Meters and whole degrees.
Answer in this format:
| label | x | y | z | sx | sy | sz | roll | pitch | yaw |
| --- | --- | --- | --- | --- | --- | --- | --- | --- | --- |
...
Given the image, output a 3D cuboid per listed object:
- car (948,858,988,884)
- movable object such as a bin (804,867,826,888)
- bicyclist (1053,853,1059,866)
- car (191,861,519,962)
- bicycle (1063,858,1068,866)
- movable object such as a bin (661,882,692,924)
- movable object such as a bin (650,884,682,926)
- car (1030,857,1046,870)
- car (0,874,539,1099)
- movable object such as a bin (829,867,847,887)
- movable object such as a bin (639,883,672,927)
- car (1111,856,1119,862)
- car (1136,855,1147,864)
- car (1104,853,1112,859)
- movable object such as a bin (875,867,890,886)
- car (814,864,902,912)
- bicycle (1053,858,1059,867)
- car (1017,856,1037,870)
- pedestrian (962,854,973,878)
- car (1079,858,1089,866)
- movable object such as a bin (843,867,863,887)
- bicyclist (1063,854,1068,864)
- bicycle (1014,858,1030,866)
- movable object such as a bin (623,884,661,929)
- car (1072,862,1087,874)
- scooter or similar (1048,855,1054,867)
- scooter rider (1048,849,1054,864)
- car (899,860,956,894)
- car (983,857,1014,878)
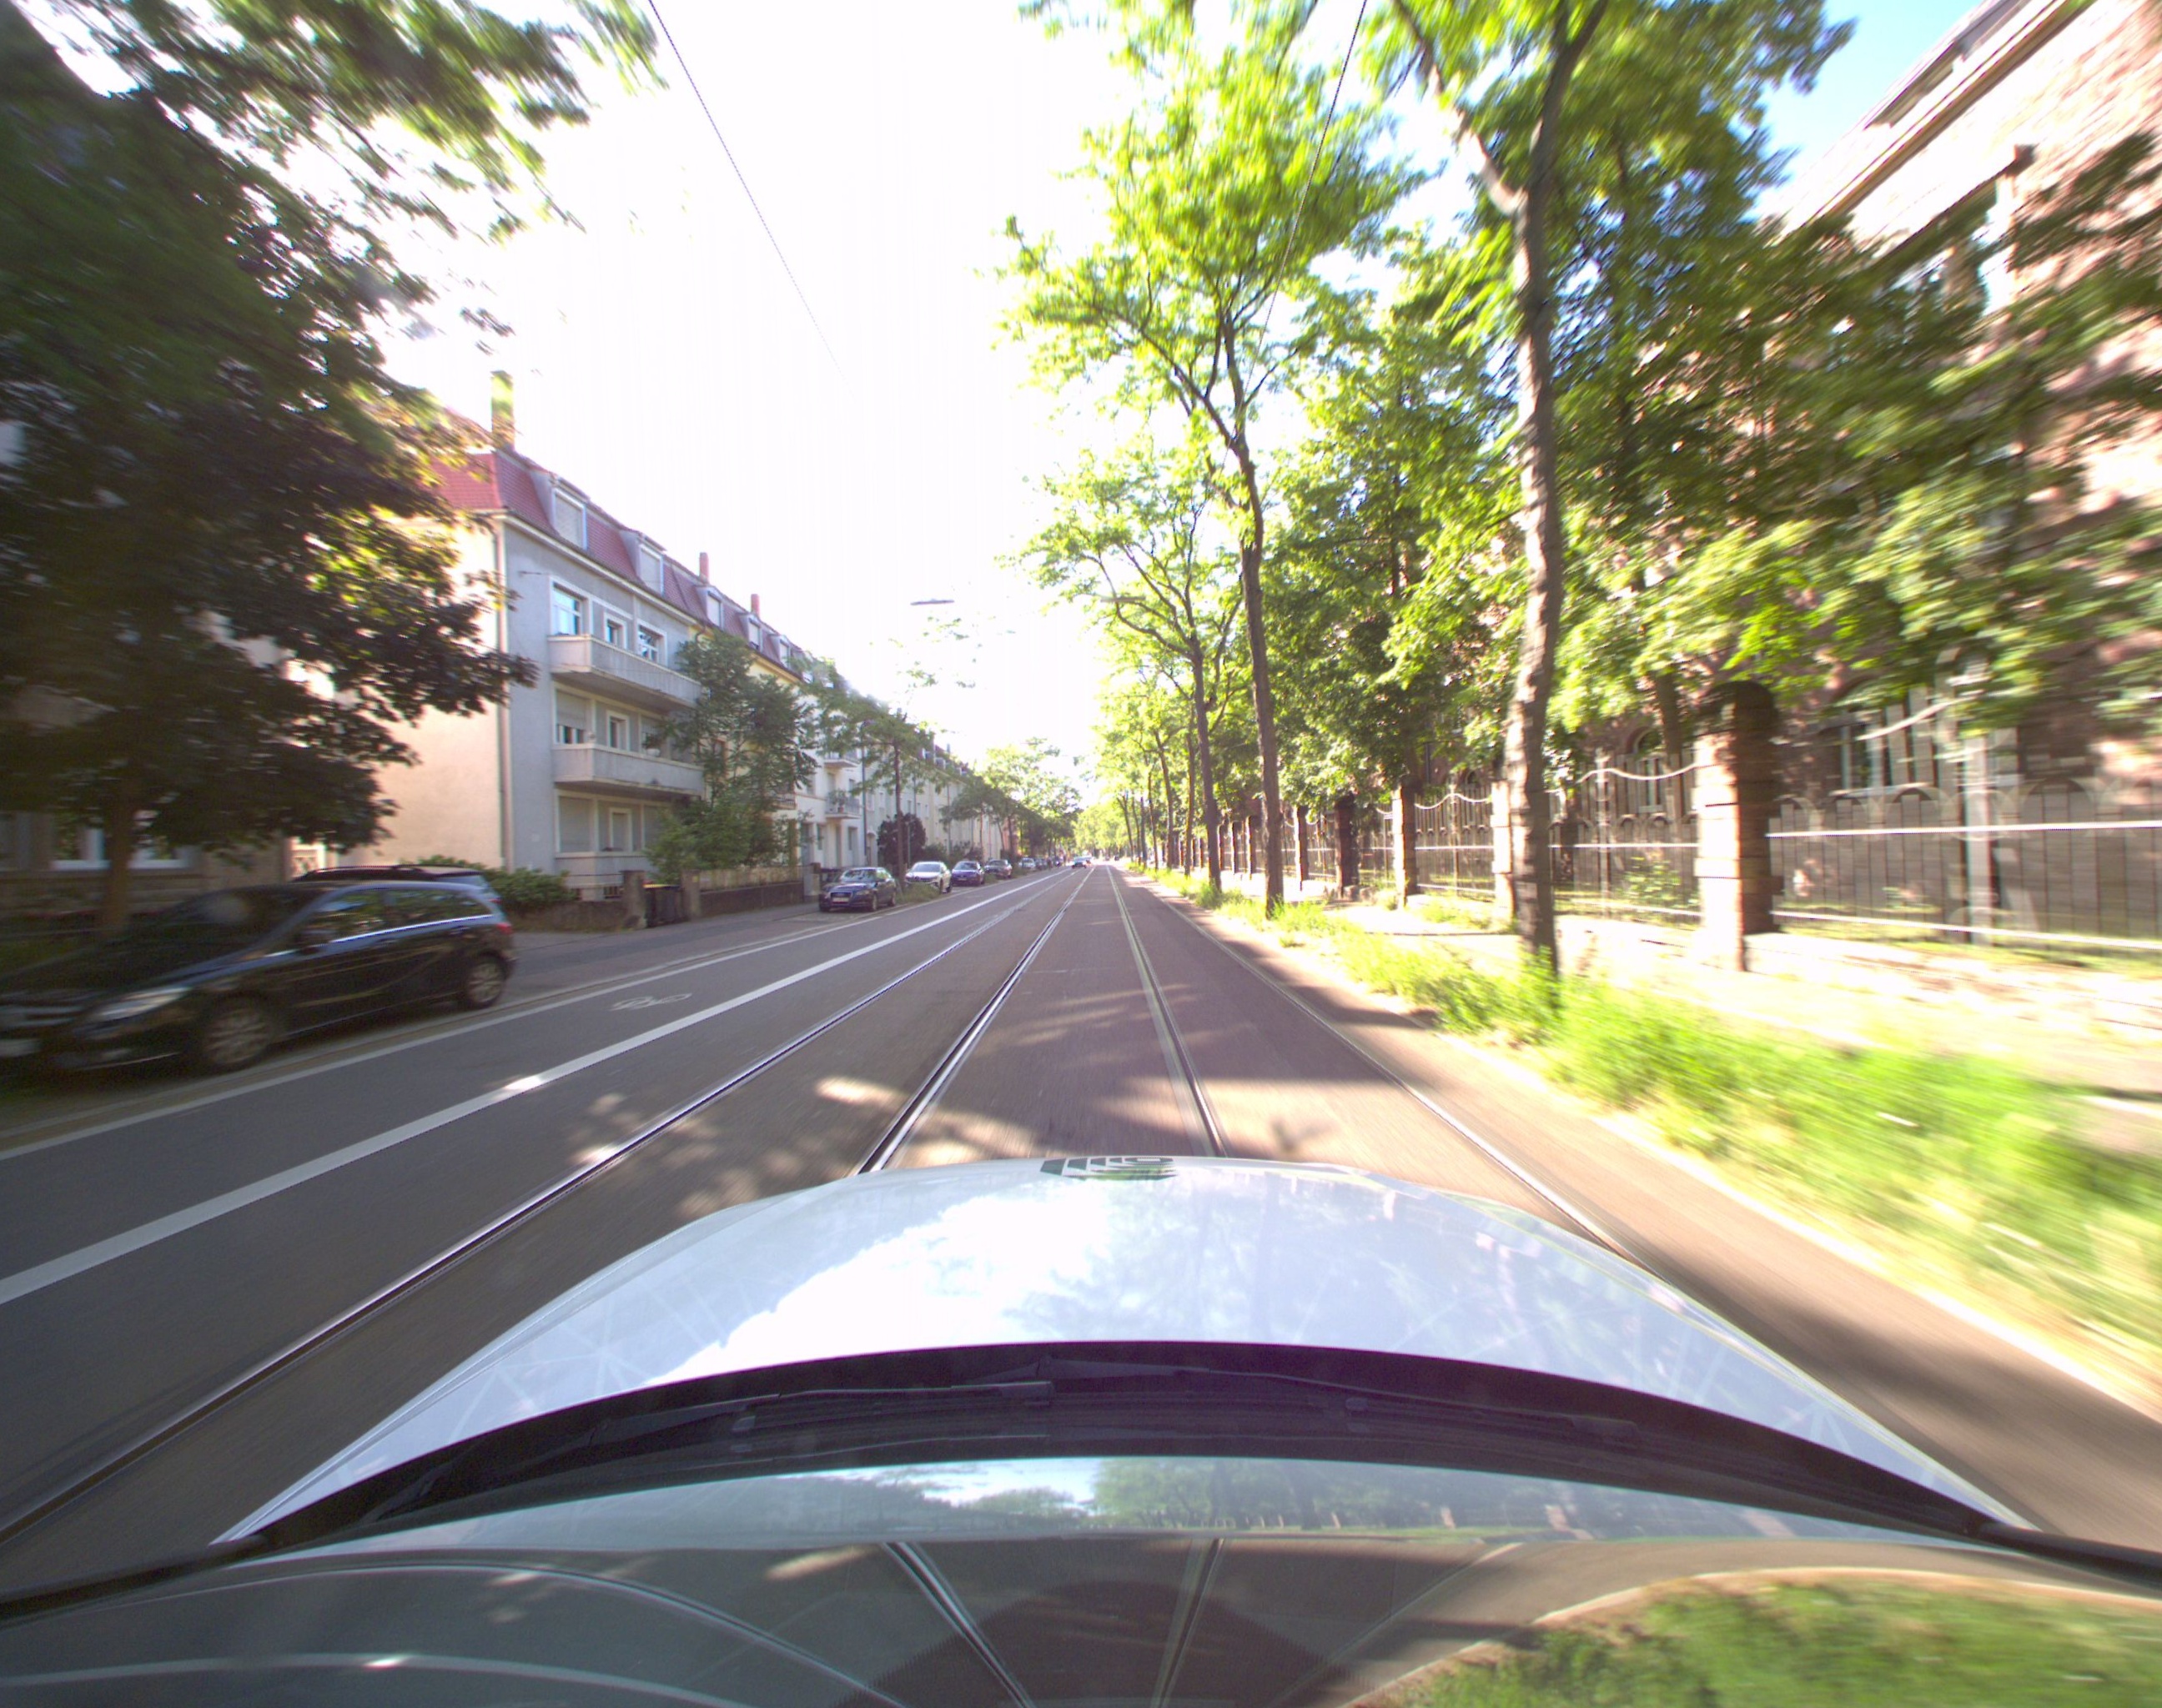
| label | x | y | z | sx | sy | sz | roll | pitch | yaw |
| --- | --- | --- | --- | --- | --- | --- | --- | --- | --- |
| car | -6.778 | 0.996 | 49.335 | 1.752 | 1.511 | 4.438 | -1 | 0 | 0 |
| movable object such as a bin | -13.840 | 1.202 | 42.330 | 0.841 | 1.046 | 0.733 | 0 | 0 | 4 |
| bicyclist | -3.403 | 0.713 | 109.616 | 0.624 | 1.639 | 0.940 | -4 | 0 | 1 |
| car | -13.066 | 0.989 | 14.884 | 4.153 | 1.659 | 1.983 | -1 | 0 | 0 |
| bicycle | -2.499 | 1.264 | 132.999 | 0.692 | 1.177 | 1.914 | -4 | 0 | 1 |
| movable object such as a bin | -10.840 | 1.311 | 21.842 | 0.535 | 1.066 | 0.510 | -2 | 0 | 1 |
| movable object such as a bin | -10.859 | 1.326 | 21.324 | 0.545 | 1.066 | 0.510 | -2 | 0 | 1 |
| car | -5.138 | 1.082 | 96.893 | 1.681 | 1.485 | 3.760 | 1 | 0 | 0 |
| car | -7.925 | 1.031 | 8.242 | 1.770 | 1.541 | 4.487 | -1 | 0 | 2 |
| movable object such as a bin | -12.810 | 1.206 | 42.944 | 0.704 | 1.046 | 0.733 | 0 | 0 | 4 |
| movable object such as a bin | -10.871 | 1.302 | 20.801 | 0.545 | 1.066 | 0.510 | -2 | 0 | 1 |
| car | 9.308 | 1.326 | 222.443 | 1.939 | 1.610 | 3.994 | -2 | 0 | -4 |
| car | 11.993 | 1.128 | 160.323 | 1.833 | 1.655 | 3.578 | -2 | 0 | -1 |
| car | 7.973 | 0.690 | 237.493 | 1.938 | 1.610 | 3.995 | -2 | 0 | -3 |
| movable object such as a bin | -10.404 | 1.160 | 42.773 | 0.557 | 0.975 | 0.733 | 0 | 0 | 4 |
| car | -7.397 | 1.080 | 27.443 | 1.700 | 1.406 | 4.334 | -1 | 0 | 1 |
| bicycle | -3.366 | 1.185 | 109.626 | 0.624 | 1.177 | 1.914 | -4 | 0 | 1 |
| car | -5.859 | 0.961 | 88.483 | 1.696 | 1.485 | 4.080 | 1 | 0 | 1 |
| pedestrian | -8.813 | 0.938 | 63.265 | 0.689 | 1.801 | 0.813 | -2 | 0 | 1 |
| car | 0.574 | 1.508 | 148.345 | 1.694 | 1.439 | 4.071 | -1 | 0 | 0 |
| movable object such as a bin | -12.006 | 1.217 | 42.897 | 0.841 | 1.046 | 0.733 | 0 | 0 | 4 |
| bicyclist | -2.528 | 0.828 | 132.905 | 0.707 | 1.607 | 0.865 | -4 | 0 | 1 |
| bicycle | -8.935 | 1.240 | 123.182 | 2.272 | 1.198 | 0.561 | 1 | 1 | 8 |
| movable object such as a bin | -10.887 | 1.290 | 20.199 | 0.539 | 1.066 | 0.671 | -2 | 0 | 1 |
| car | -0.138 | 1.696 | 101.253 | 1.752 | 1.439 | 4.523 | -1 | 0 | 0 |
| scooter or similar | -3.525 | 0.801 | 95.741 | 0.518 | 1.297 | 1.378 | -5 | 0 | 1 |
| scooter rider | -3.564 | 0.318 | 95.749 | 0.495 | 1.699 | 0.787 | -5 | 0 | 1 |
| car | -7.217 | 1.045 | 38.680 | 1.811 | 1.511 | 4.371 | -1 | 0 | 0 |
| car | -6.251 | 1.016 | 62.136 | 1.810 | 1.485 | 4.207 | -1 | 0 | 1 |
